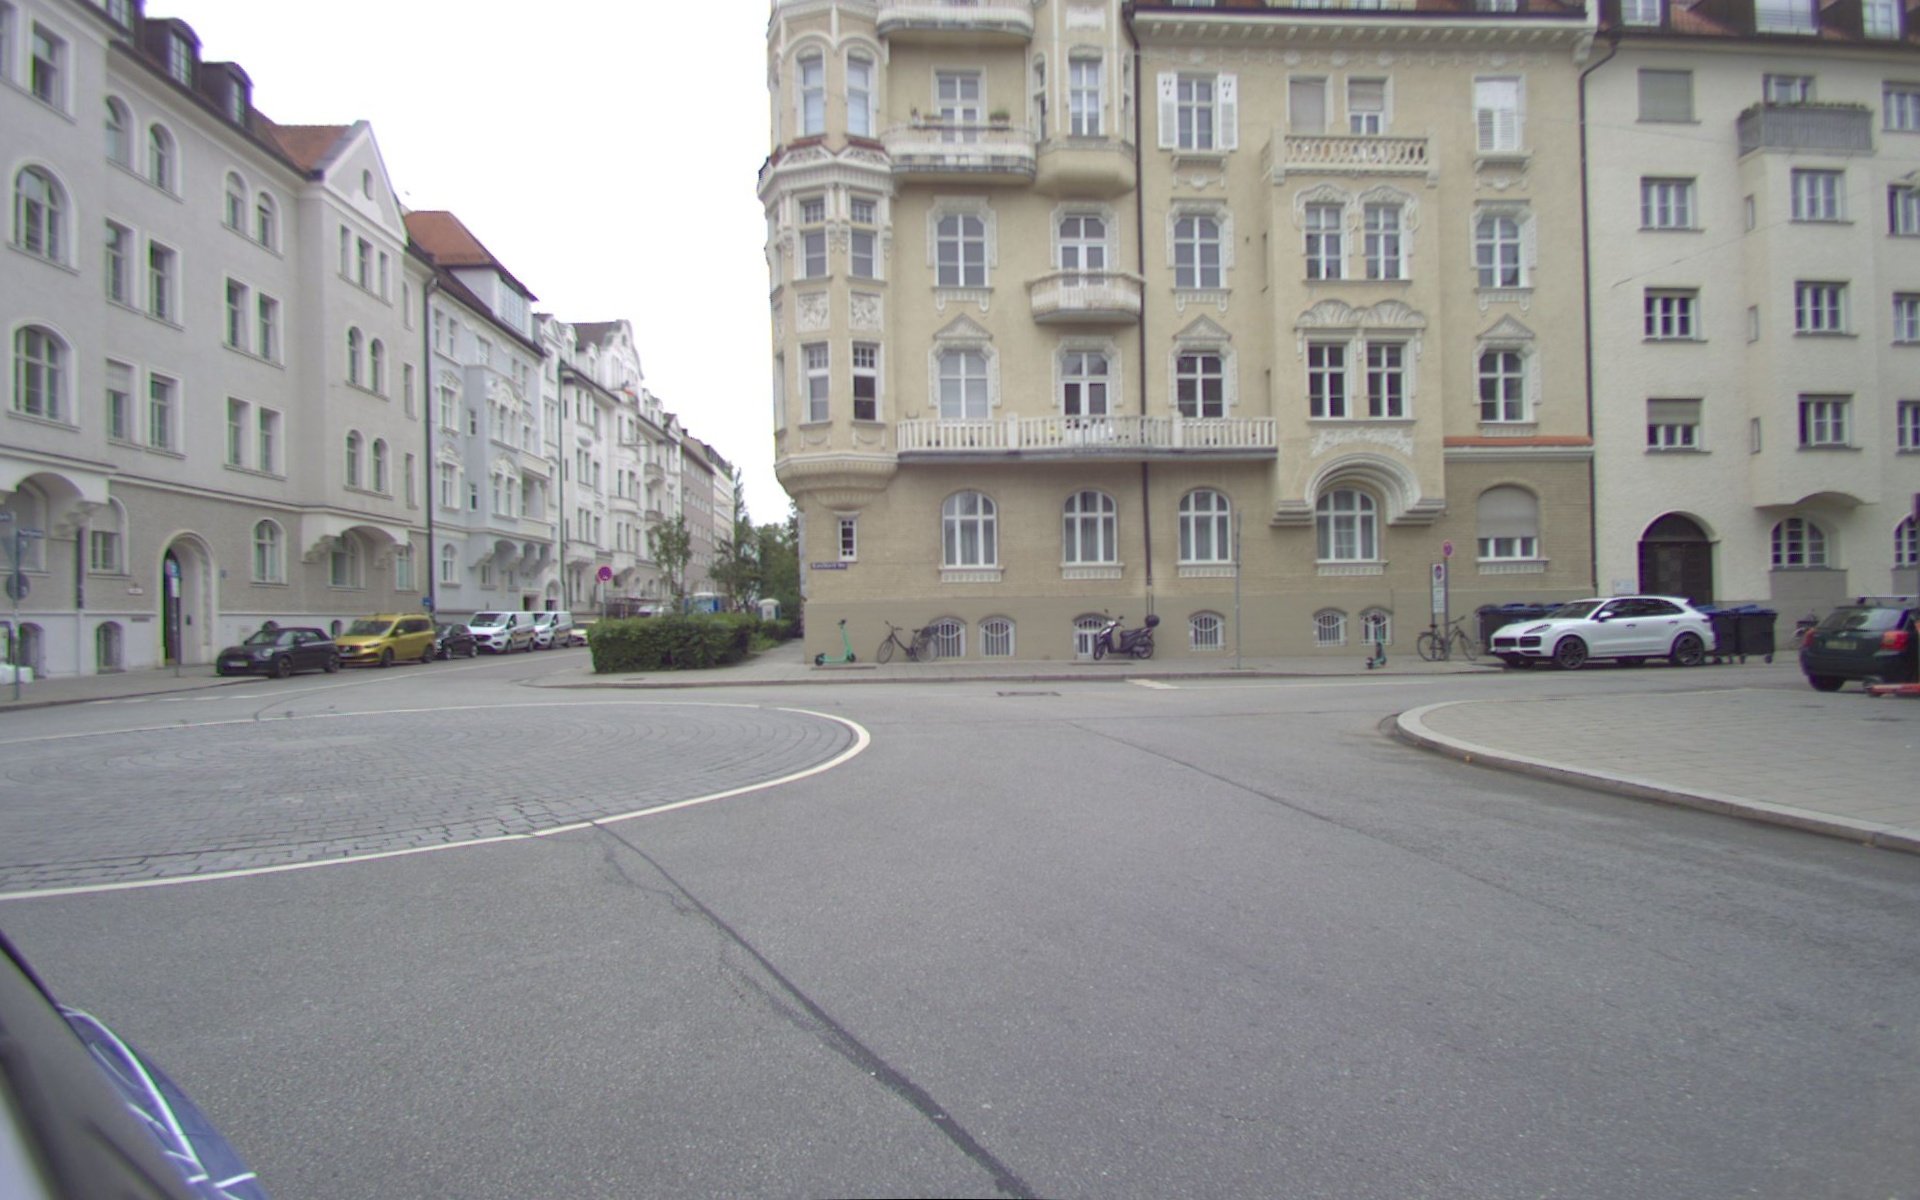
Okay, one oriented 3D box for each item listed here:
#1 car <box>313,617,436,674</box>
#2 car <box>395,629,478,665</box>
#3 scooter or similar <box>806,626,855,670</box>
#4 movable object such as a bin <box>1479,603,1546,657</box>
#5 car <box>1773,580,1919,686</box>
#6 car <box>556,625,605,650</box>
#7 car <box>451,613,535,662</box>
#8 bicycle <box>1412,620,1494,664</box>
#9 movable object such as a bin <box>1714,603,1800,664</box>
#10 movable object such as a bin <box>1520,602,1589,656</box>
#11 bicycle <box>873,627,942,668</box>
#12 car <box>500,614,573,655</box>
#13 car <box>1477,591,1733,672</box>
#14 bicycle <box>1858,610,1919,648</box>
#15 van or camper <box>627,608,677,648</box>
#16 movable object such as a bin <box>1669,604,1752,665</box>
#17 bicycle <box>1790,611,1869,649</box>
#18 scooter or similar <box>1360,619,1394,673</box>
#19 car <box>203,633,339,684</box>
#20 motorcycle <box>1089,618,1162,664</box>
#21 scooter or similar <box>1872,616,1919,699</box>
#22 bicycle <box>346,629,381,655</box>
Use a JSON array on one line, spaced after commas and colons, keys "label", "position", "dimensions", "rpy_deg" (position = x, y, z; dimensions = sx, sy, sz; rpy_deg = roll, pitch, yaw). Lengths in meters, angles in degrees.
[{"label": "car", "position": [-20.524, 1.549, 35.675], "dimensions": [1.998, 1.852, 4.136], "rpy_deg": [-1, -1, -1]}, {"label": "car", "position": [-21.007, 1.852, 40.734], "dimensions": [1.672, 1.356, 3.541], "rpy_deg": [-1, -1, -3]}, {"label": "scooter or similar", "position": [-3.412, 1.259, 26.727], "dimensions": [1.195, 1.124, 0.469], "rpy_deg": [-1, -1, -37]}, {"label": "movable object such as a bin", "position": [15.136, 0.822, 27.759], "dimensions": [1.156, 1.436, 1.095], "rpy_deg": [-1, -1, -3]}, {"label": "car", "position": [15.460, 0.468, 15.770], "dimensions": [4.351, 1.517, 1.828], "rpy_deg": [-1, -2, -9]}, {"label": "car", "position": [-21.922, 2.129, 58.625], "dimensions": [1.672, 1.356, 3.541], "rpy_deg": [-1, -1, -3]}, {"label": "car", "position": [-21.495, 1.698, 46.793], "dimensions": [2.092, 2.108, 4.828], "rpy_deg": [-1, -1, -6]}, {"label": "bicycle", "position": [12.539, 1.065, 25.733], "dimensions": [1.802, 1.057, 0.565], "rpy_deg": [-1, -1, -5]}, {"label": "movable object such as a bin", "position": [19.435, 0.816, 24.713], "dimensions": [1.156, 1.436, 1.095], "rpy_deg": [-1, -1, -3]}, {"label": "movable object such as a bin", "position": [16.315, 0.790, 27.805], "dimensions": [1.156, 1.436, 1.095], "rpy_deg": [-1, -1, -3]}, {"label": "bicycle", "position": [-1.418, 1.262, 27.113], "dimensions": [1.802, 1.057, 0.565], "rpy_deg": [-1, -1, -5]}, {"label": "car", "position": [-22.052, 1.787, 52.891], "dimensions": [2.093, 2.009, 4.826], "rpy_deg": [-1, -1, -4]}, {"label": "car", "position": [15.029, 0.706, 23.743], "dimensions": [4.767, 1.713, 1.984], "rpy_deg": [-1, -1, -5]}, {"label": "bicycle", "position": [26.985, 0.821, 29.148], "dimensions": [1.802, 1.057, 0.565], "rpy_deg": [-1, -1, -5]}, {"label": "van or camper", "position": [-23.619, 2.093, 77.870], "dimensions": [1.971, 2.935, 6.439], "rpy_deg": [-1, 0, -1]}, {"label": "movable object such as a bin", "position": [18.263, 0.831, 24.655], "dimensions": [1.156, 1.436, 1.095], "rpy_deg": [-1, -1, -3]}, {"label": "bicycle", "position": [24.908, 0.856, 29.001], "dimensions": [1.802, 1.057, 0.565], "rpy_deg": [-1, -1, -5]}, {"label": "scooter or similar", "position": [9.870, 1.076, 23.942], "dimensions": [0.466, 1.202, 1.201], "rpy_deg": [-2, -1, 34]}, {"label": "car", "position": [-20.459, 1.707, 30.242], "dimensions": [1.672, 1.356, 3.681], "rpy_deg": [-1, -1, -2]}, {"label": "motorcycle", "position": [4.474, 1.110, 27.388], "dimensions": [1.802, 1.185, 0.600], "rpy_deg": [-1, -1, -5]}, {"label": "scooter or similar", "position": [12.935, 0.766, 13.537], "dimensions": [0.384, 1.097, 1.005], "rpy_deg": [-1, -1, -32]}, {"label": "bicycle", "position": [-25.540, 1.807, 43.365], "dimensions": [0.484, 1.057, 1.831], "rpy_deg": [-1, -1, -2]}]
